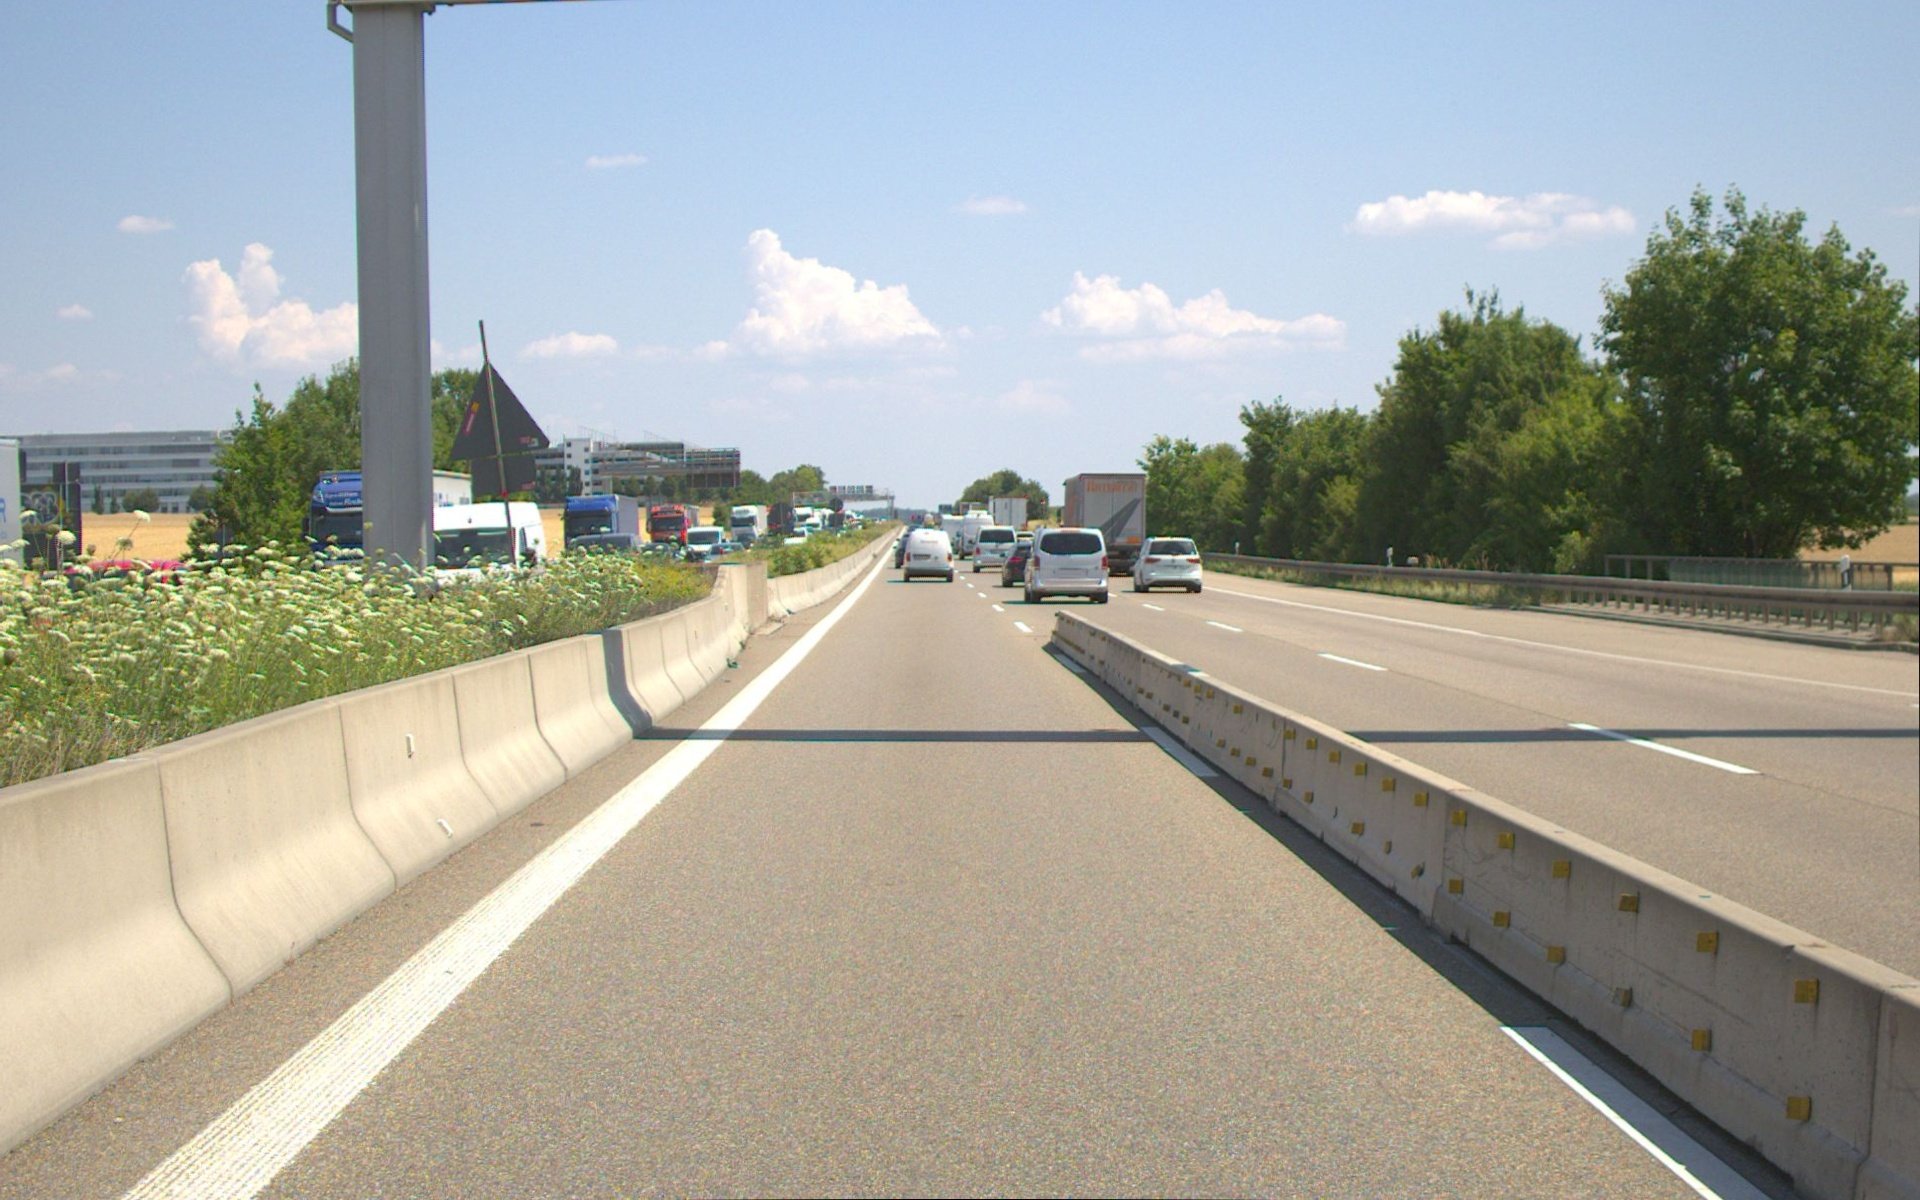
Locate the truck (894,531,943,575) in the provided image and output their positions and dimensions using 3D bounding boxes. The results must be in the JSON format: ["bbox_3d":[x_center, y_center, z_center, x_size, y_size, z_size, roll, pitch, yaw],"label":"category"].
[{"bbox_3d":[-1.962,-2.243,162.388,2.211,2.007,4.972,-1,1,-2],"label":"truck"}]

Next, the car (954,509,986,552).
[{"bbox_3d":[0.554,-3.959,195.791,1.773,2.384,4.000,0,0,-1],"label":"car"}]

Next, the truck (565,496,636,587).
[{"bbox_3d":[-17.746,-2.897,169.857,2.865,4.335,5.586,-1,1,0],"label":"truck"}]

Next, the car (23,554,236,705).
[{"bbox_3d":[-9.250,0.287,38.518,1.559,1.565,3.705,-1,1,-2],"label":"car"}]

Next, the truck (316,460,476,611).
[{"bbox_3d":[-17.244,-1.975,106.047,2.592,4.224,14.124,-3,1,-1],"label":"truck"}]

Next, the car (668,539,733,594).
[{"bbox_3d":[-7.764,-1.036,103.167,1.684,1.561,4.563,-2,1,-1],"label":"car"}]

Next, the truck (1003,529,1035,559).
[{"bbox_3d":[3.943,-3.747,230.117,1.993,2.007,4.000,-1,1,-1],"label":"truck"}]

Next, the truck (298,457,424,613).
[{"bbox_3d":[-17.127,-1.856,98.566,2.592,4.224,4.854,-3,1,-1],"label":"truck"}]

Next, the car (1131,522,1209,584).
[{"bbox_3d":[6.177,-1.368,101.367,1.993,1.788,4.000,0,0,-1],"label":"car"}]

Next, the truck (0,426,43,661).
[{"bbox_3d":[-16.128,-0.769,50.591,2.699,3.608,8.787,-2,1,0],"label":"truck"}]

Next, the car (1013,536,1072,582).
[{"bbox_3d":[2.671,-1.324,111.748,1.773,1.442,4.000,0,0,-1],"label":"car"}]

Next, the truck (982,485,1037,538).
[{"bbox_3d":[3.737,-6.732,262.890,3.815,3.891,9.581,-1,1,-1],"label":"truck"}]

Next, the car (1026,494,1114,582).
[{"bbox_3d":[2.692,-1.512,85.237,1.993,2.112,4.000,0,0,-1],"label":"car"}]

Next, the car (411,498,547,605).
[{"bbox_3d":[-9.180,-0.931,65.937,1.993,1.939,4.795,-1,1,-1],"label":"car"}]

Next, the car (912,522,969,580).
[{"bbox_3d":[-0.707,-1.737,122.654,1.993,2.007,4.000,0,0,-1],"label":"car"}]

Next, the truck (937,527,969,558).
[{"bbox_3d":[-0.455,-3.795,225.792,1.993,2.007,4.000,-1,1,-1],"label":"truck"}]

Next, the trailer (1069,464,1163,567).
[{"bbox_3d":[6.238,-3.353,138.919,3.277,3.953,9.113,0,0,-1],"label":"trailer"}]

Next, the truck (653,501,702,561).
[{"bbox_3d":[-18.822,-4.616,229.136,2.856,3.842,4.000,-2,1,-1],"label":"truck"}]

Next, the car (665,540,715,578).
[{"bbox_3d":[-14.840,-2.291,189.291,2.185,2.007,5.763,-1,1,1],"label":"car"}]

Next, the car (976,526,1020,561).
[{"bbox_3d":[1.626,-2.421,147.762,1.773,1.442,4.000,0,0,-1],"label":"car"}]
